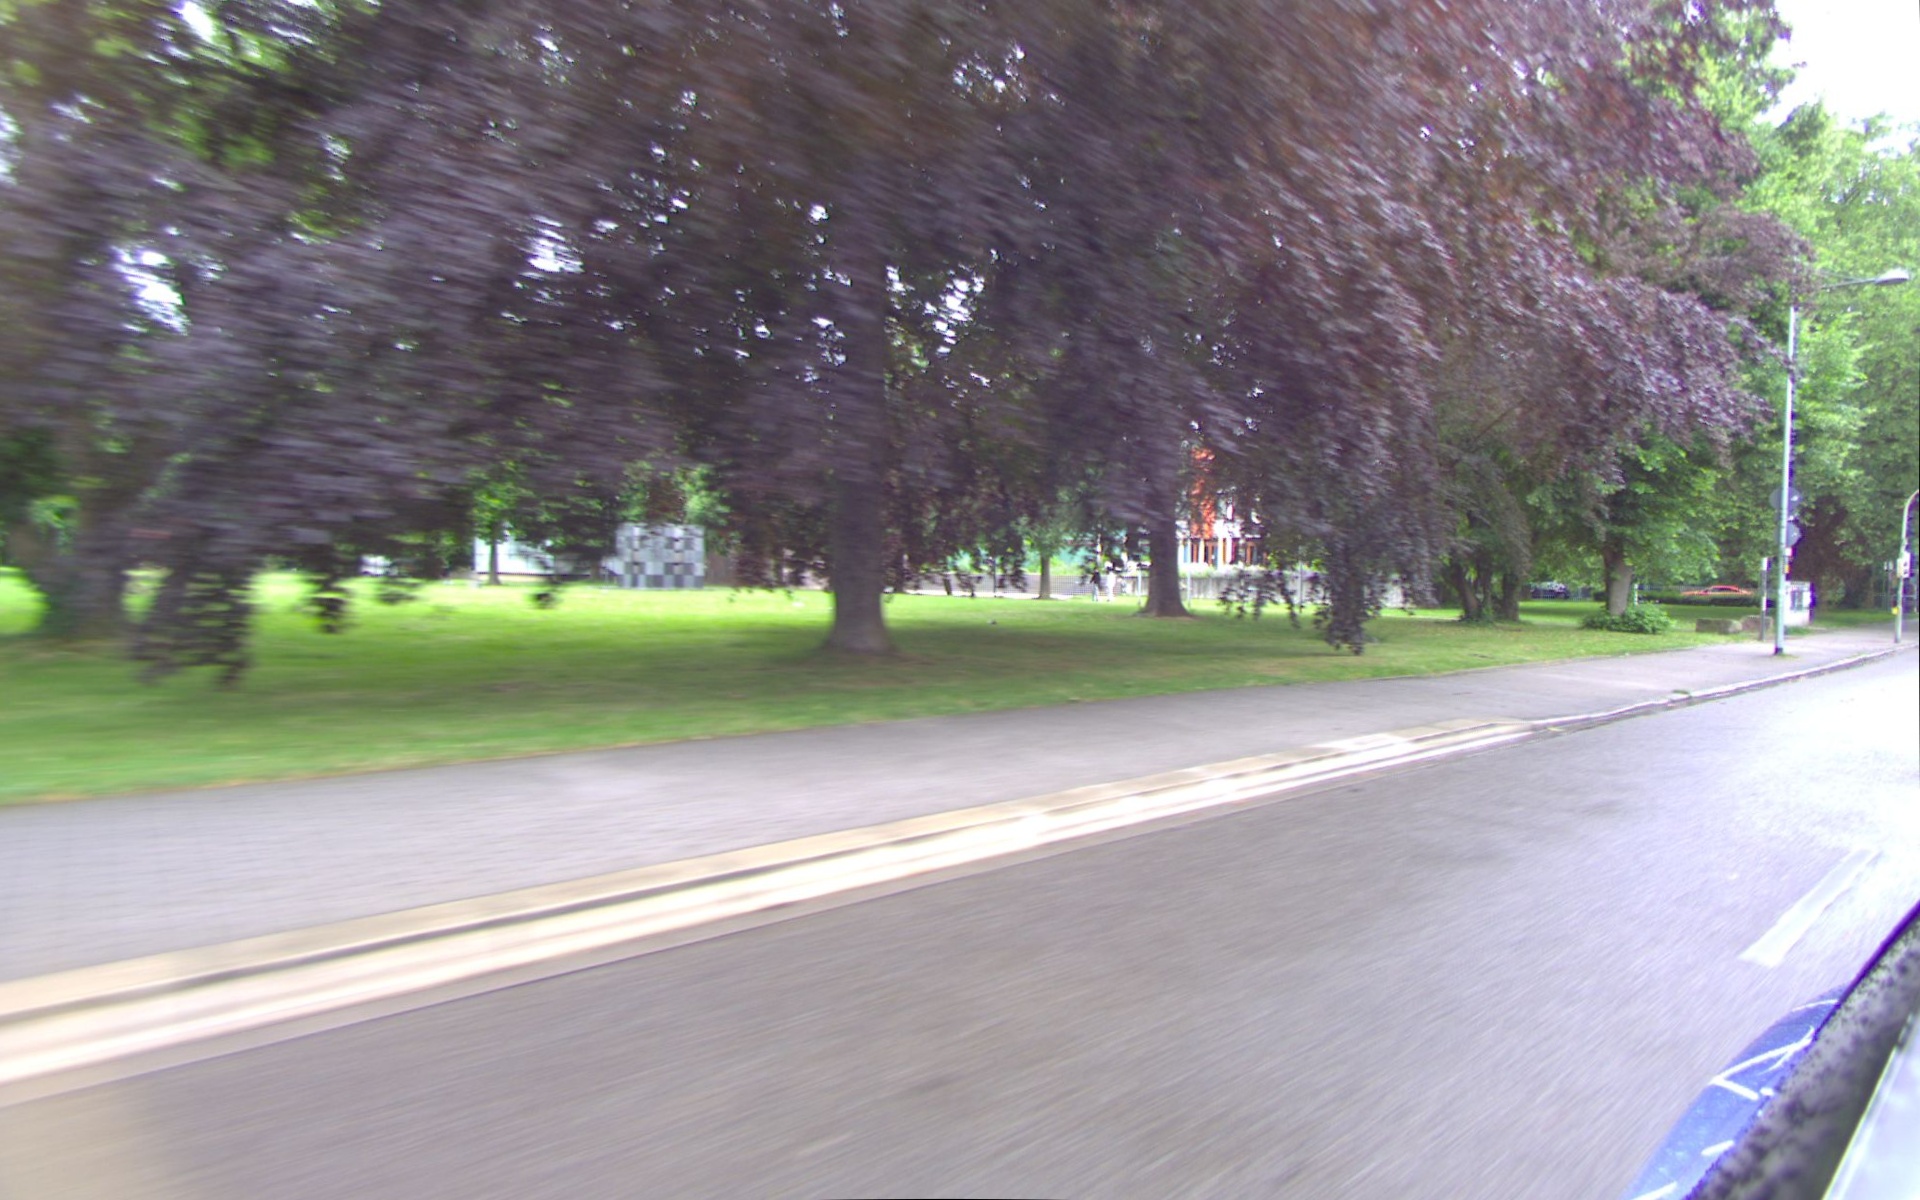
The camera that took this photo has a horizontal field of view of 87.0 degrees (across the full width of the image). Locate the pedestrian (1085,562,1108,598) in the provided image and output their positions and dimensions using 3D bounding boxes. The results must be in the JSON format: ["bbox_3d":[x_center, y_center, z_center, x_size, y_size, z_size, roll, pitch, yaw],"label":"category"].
[{"bbox_3d":[6.889,-1.016,51.107,0.838,1.785,0.760,-2,-1,44],"label":"pedestrian"}]

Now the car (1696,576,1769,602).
[{"bbox_3d":[57.125,-0.809,74.839,1.966,1.737,3.993,0,2,-43],"label":"car"}]

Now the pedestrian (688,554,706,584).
[{"bbox_3d":[-16.090,-1.905,61.944,0.838,1.785,0.760,-2,-1,44],"label":"pedestrian"}]

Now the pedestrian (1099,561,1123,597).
[{"bbox_3d":[7.746,-1.070,51.796,0.838,1.785,0.865,-2,-1,44],"label":"pedestrian"}]
